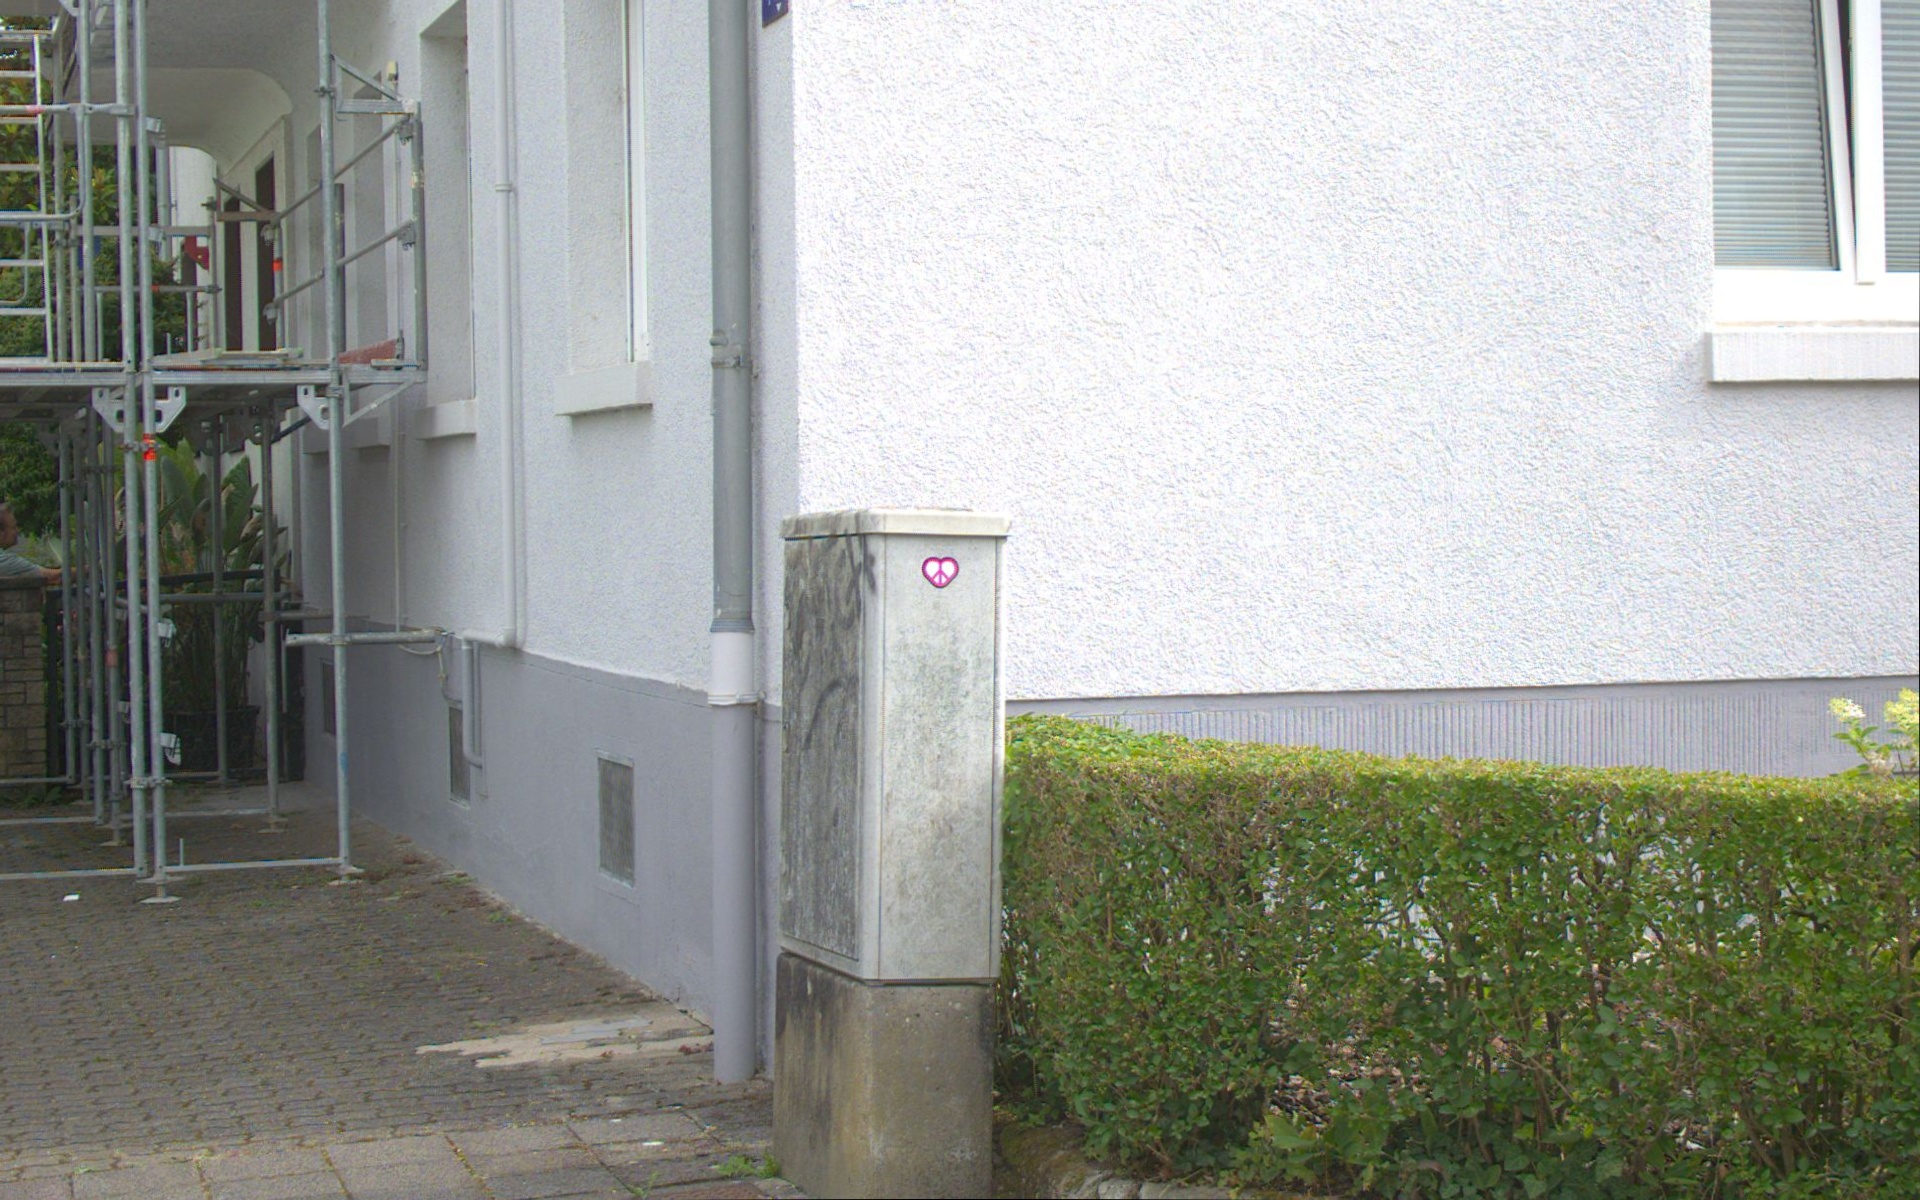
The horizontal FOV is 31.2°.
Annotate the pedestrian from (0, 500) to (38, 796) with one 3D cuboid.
[{"bbox_3d":[-5.481,0.269,19.182,0.601,1.623,0.625,-2,0,-16],"label":"pedestrian"}]
